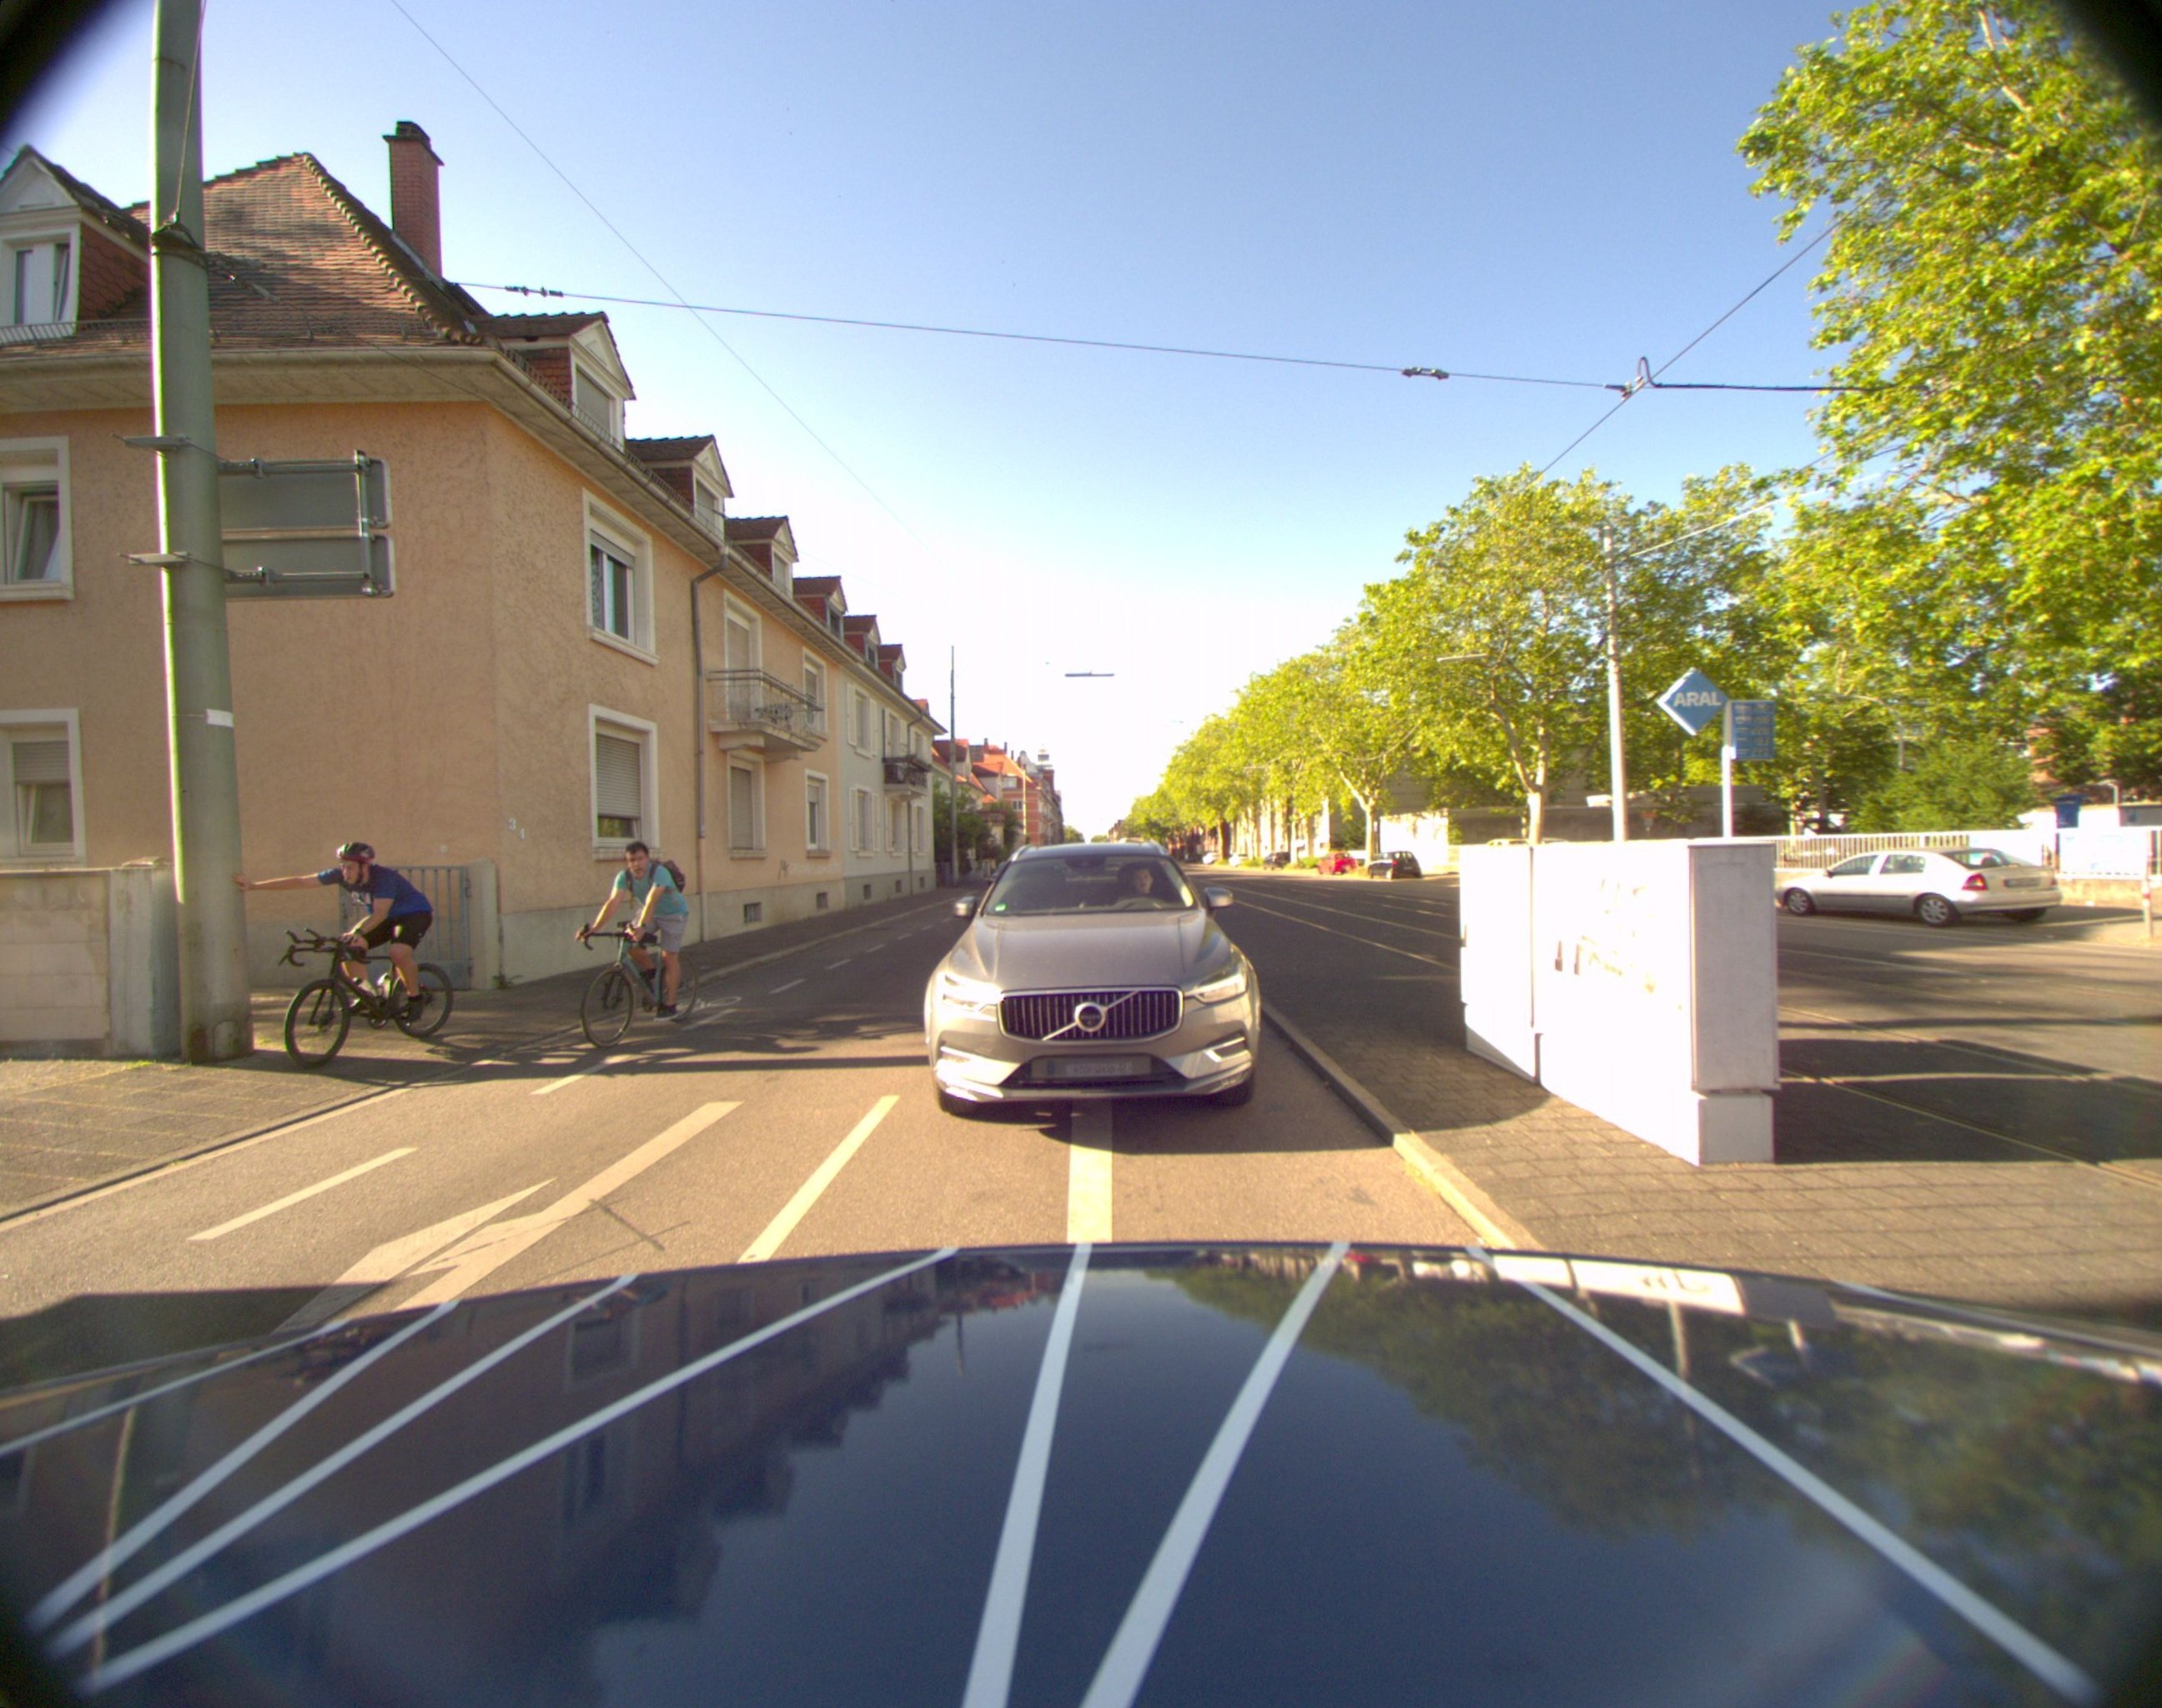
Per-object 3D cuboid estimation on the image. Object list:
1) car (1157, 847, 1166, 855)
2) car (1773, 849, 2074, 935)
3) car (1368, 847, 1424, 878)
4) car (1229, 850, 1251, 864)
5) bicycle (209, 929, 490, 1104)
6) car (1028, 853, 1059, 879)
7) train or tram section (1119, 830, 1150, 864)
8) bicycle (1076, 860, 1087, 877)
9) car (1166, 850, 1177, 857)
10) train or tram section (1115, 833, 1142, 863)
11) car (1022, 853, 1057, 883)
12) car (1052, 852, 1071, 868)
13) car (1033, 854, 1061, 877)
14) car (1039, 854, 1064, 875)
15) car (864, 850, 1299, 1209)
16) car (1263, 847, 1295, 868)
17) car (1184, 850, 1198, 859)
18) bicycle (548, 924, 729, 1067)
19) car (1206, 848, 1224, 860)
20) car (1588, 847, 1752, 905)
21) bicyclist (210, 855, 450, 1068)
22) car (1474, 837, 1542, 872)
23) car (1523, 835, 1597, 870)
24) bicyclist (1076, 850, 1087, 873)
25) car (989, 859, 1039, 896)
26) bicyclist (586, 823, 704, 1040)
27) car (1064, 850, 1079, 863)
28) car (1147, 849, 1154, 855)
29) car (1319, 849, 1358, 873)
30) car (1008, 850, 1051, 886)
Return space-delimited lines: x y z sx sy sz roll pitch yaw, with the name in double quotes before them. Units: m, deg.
"car" 20.242 -0.720 191.414 1.695 1.775 3.749 -3 0 1
"car" 16.227 0.642 14.982 1.695 1.395 3.813 -3 0 1
"car" 16.887 0.430 40.896 1.599 1.498 3.304 -3 0 1
"car" 17.465 0.297 83.544 1.695 1.440 3.749 -3 0 1
"bicycle" -6.023 1.272 6.425 0.592 1.062 1.775 4 0 1
"car" -2.630 0.838 54.005 1.793 1.673 3.814 -3 0 2
"train or tram section" 6.198 -0.755 89.393 2.717 3.643 12.653 -1 0 0
"bicycle" 0.057 1.019 54.169 0.685 1.098 1.806 -2 1 1
"car" 19.270 -0.188 161.877 1.695 1.440 3.749 -3 0 1
"train or tram section" 6.267 -0.805 102.004 2.717 3.643 12.653 -1 0 0
"car" -2.583 0.856 48.485 1.793 1.673 3.814 -3 0 2
"car" -2.149 0.638 85.370 1.793 1.673 3.814 -3 0 2
"car" -2.718 0.889 61.030 1.793 1.673 3.814 -3 0 2
"car" -2.550 0.863 67.075 1.793 1.673 3.814 -3 0 2
"car" 0.032 0.828 5.754 1.998 1.628 4.306 -2 0 1
"car" 17.139 0.277 65.889 1.695 1.648 3.749 -3 0 1
"car" 18.201 0.077 125.523 1.695 1.440 3.749 -3 0 1
"bicycle" -4.111 1.264 7.235 0.519 1.084 1.797 -1 -2 6
"car" 17.795 0.031 100.715 1.695 1.440 3.749 -3 0 1
"car" 16.413 0.562 21.417 1.695 1.395 3.749 -3 0 1
"bicyclist" -6.226 0.840 6.370 1.051 1.599 0.885 4 0 1
"car" 21.548 0.017 38.474 1.599 1.606 3.304 -2 0 1
"car" 23.881 -0.078 38.026 1.599 1.583 3.304 -2 0 1
"bicyclist" 0.040 0.521 54.169 0.685 1.611 0.855 -2 1 1
"car" -3.221 1.086 37.047 1.695 1.571 3.815 -3 0 5
"bicyclist" -4.122 0.713 7.242 0.519 1.922 0.946 -1 -2 6
"car" -1.291 0.369 107.103 1.793 1.673 3.814 -3 0 2
"car" 19.659 -0.615 214.808 1.695 1.775 3.749 -3 0 1
"car" 16.879 0.438 49.867 1.599 1.498 2.622 -3 0 1
"car" -2.822 0.744 42.820 1.793 1.828 5.149 -3 0 2
